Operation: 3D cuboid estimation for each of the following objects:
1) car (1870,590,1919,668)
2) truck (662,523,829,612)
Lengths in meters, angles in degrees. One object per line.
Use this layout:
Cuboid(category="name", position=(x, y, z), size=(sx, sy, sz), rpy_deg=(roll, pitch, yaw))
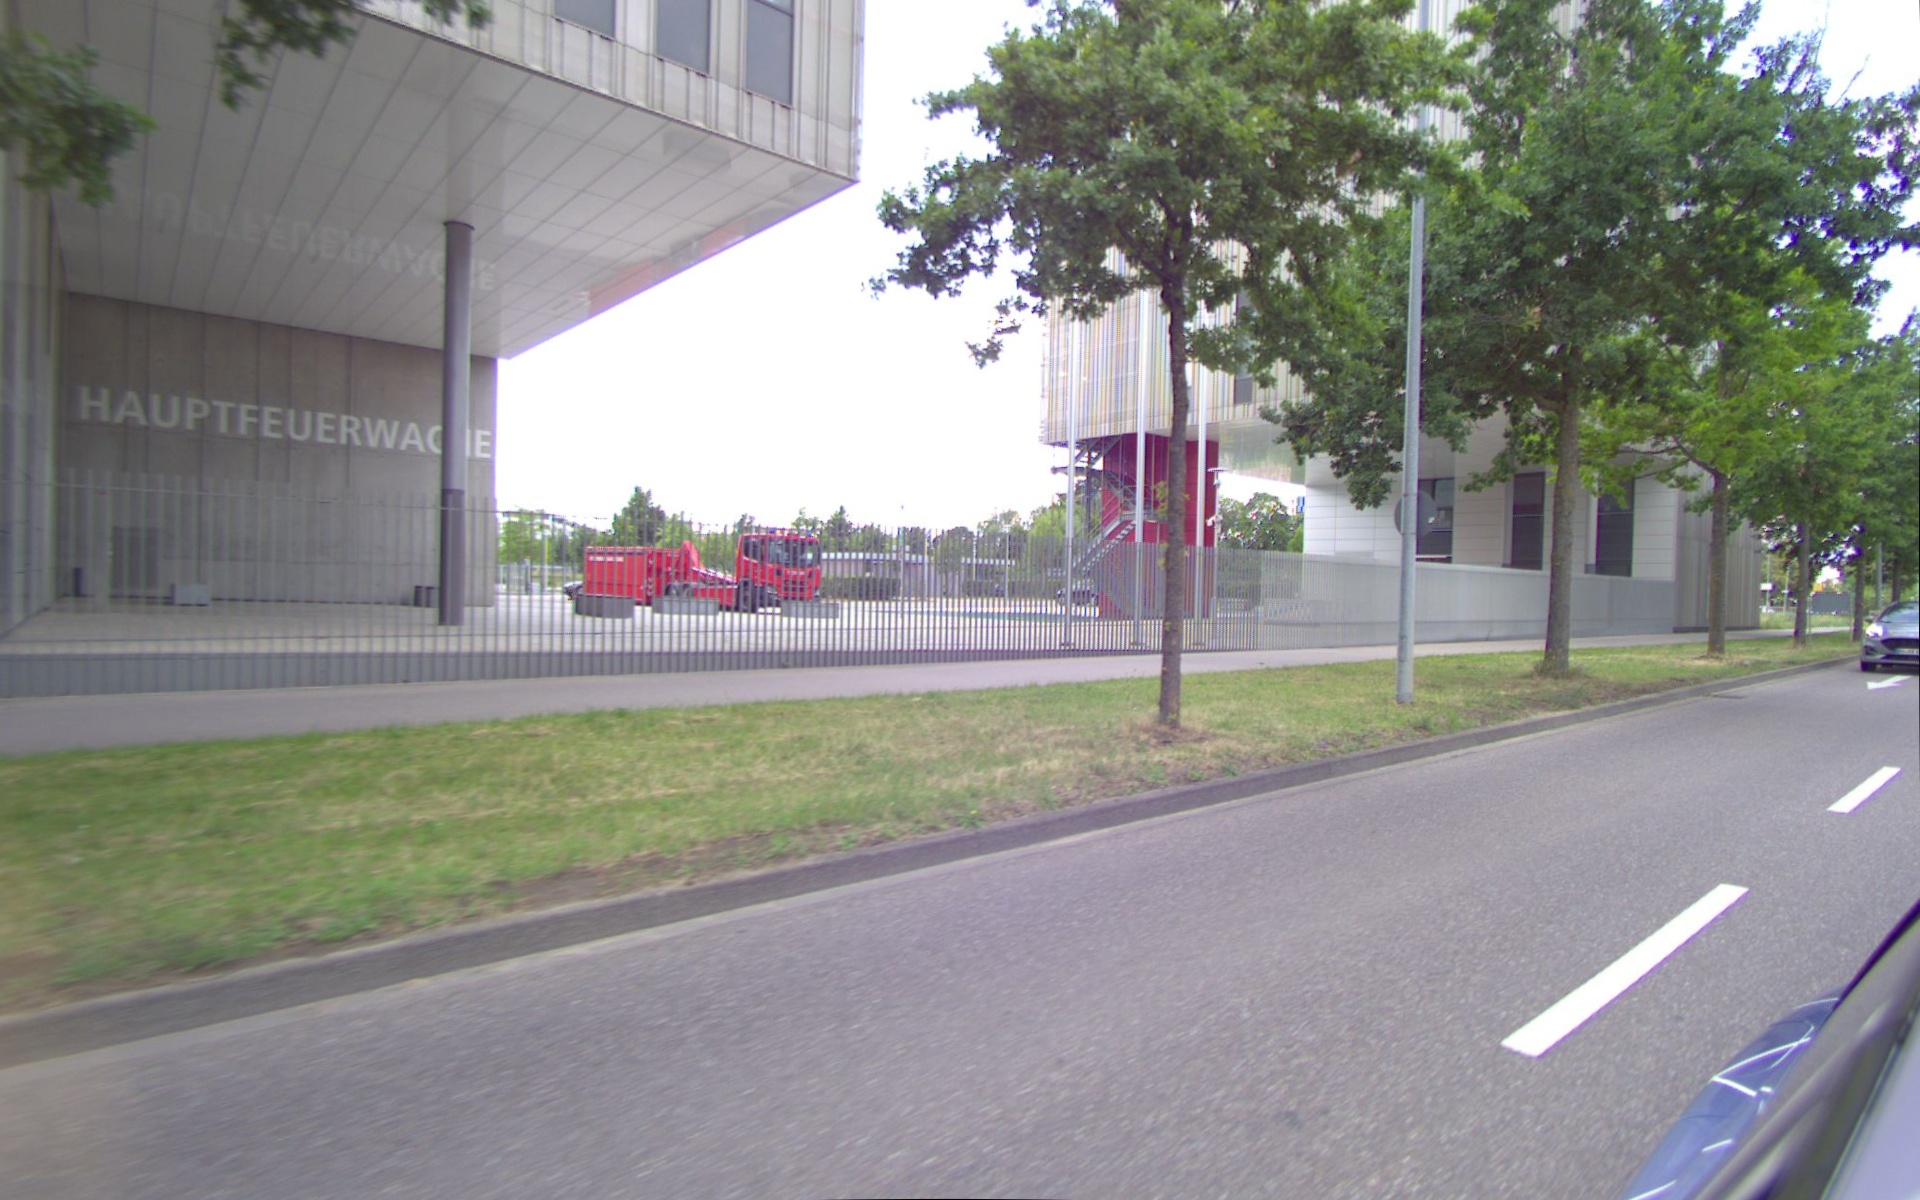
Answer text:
Cuboid(category="car", position=(21.134, 0.595, 21.786), size=(3.884, 1.594, 1.822), rpy_deg=(0, 0, -41))
Cuboid(category="truck", position=(-8.278, -1.133, 38.262), size=(2.494, 3.040, 7.782), rpy_deg=(0, 0, -44))
